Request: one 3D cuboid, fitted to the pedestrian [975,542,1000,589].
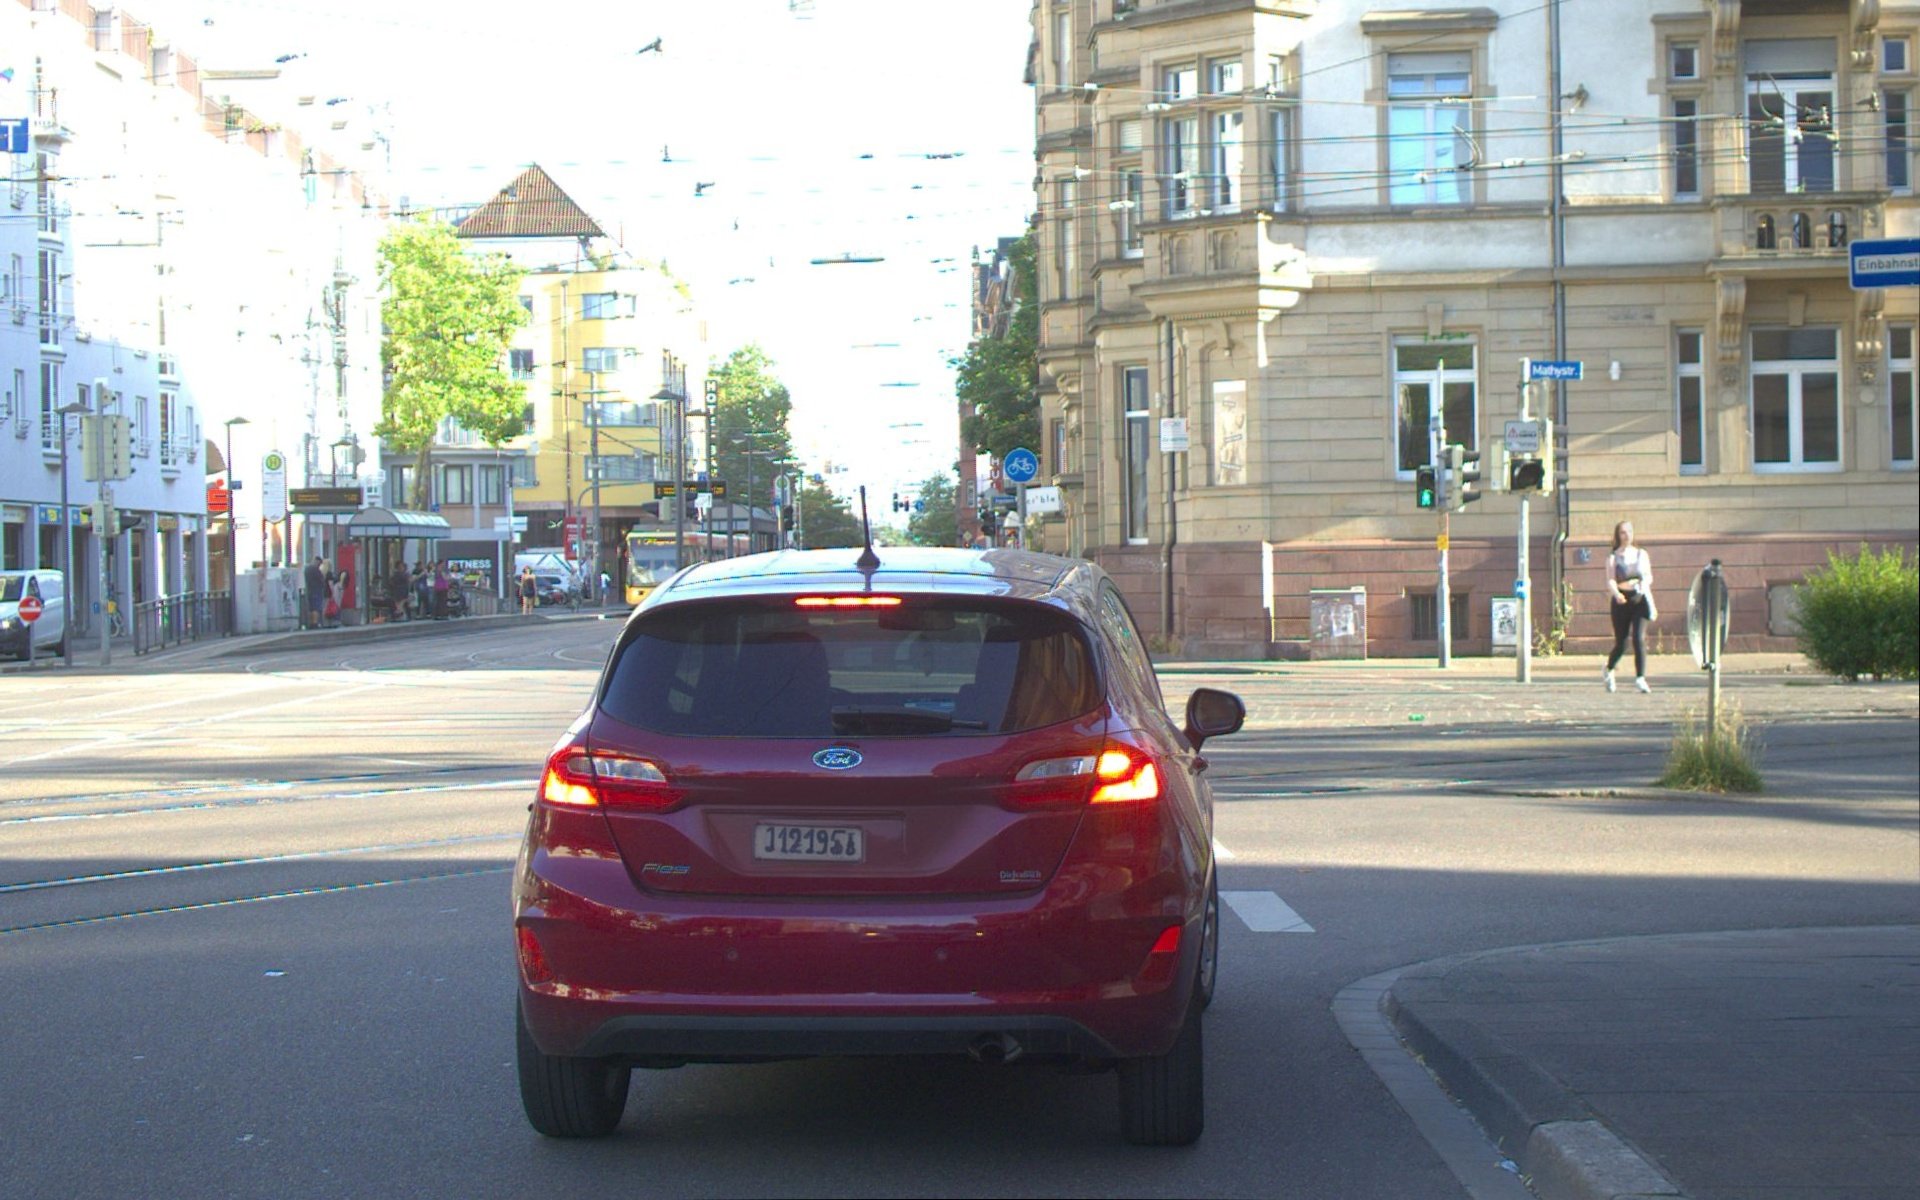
[{"bbox_3d":[0.973,-1.221,122.180,0.713,1.597,0.773,-4,2,-3],"label":"pedestrian"}]

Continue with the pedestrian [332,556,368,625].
[{"bbox_3d":[-14.985,-0.232,84.426,0.695,1.685,0.672,-1,0,-24],"label":"pedestrian"}]

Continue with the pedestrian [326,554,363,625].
[{"bbox_3d":[-14.801,-0.255,82.664,0.695,1.685,0.672,-1,0,-24],"label":"pedestrian"}]

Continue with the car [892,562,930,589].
[{"bbox_3d":[-2.627,-1.334,185.279,1.993,1.444,4.000,0,1,-1],"label":"car"}]

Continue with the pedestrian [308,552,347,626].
[{"bbox_3d":[-14.809,-0.253,80.491,0.765,1.727,0.519,-1,0,41],"label":"pedestrian"}]

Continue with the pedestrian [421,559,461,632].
[{"bbox_3d":[-13.673,-0.112,90.636,0.931,1.898,0.881,-1,0,-3],"label":"pedestrian"}]

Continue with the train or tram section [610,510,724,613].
[{"bbox_3d":[-10.667,-1.388,126.720,2.885,3.478,14.168,-2,0,0],"label":"train or tram section"}]

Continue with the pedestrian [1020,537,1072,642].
[{"bbox_3d":[1.447,-0.177,57.729,0.794,1.715,0.719,-2,-1,1],"label":"pedestrian"}]

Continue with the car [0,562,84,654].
[{"bbox_3d":[-19.896,0.152,71.613,1.993,1.831,5.347,-1,1,-1],"label":"car"}]

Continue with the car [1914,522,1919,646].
[{"bbox_3d":[14.687,-0.233,44.517,4.260,1.626,1.944,-1,0,8],"label":"car"}]

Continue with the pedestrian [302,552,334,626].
[{"bbox_3d":[-14.660,-0.249,78.474,0.599,1.686,0.613,-1,0,0],"label":"pedestrian"}]

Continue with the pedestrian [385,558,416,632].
[{"bbox_3d":[-14.518,-0.122,89.154,0.695,1.898,0.672,-1,0,-3],"label":"pedestrian"}]

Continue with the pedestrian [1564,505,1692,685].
[{"bbox_3d":[6.840,-0.055,35.238,1.023,1.801,1.083,-1,1,-4],"label":"pedestrian"}]

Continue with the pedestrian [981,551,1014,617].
[{"bbox_3d":[0.959,-0.412,88.136,0.762,1.640,0.832,-3,1,-1],"label":"pedestrian"}]

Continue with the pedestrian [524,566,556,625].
[{"bbox_3d":[-13.668,-0.135,111.797,0.878,1.898,0.935,-1,0,-16],"label":"pedestrian"}]

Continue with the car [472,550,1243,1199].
[{"bbox_3d":[-0.096,0.632,9.598,1.692,1.490,3.579,1,1,5],"label":"car"}]

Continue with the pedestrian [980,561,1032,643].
[{"bbox_3d":[0.766,0.039,57.408,0.794,1.327,0.719,-2,-1,-2],"label":"pedestrian"}]

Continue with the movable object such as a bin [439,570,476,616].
[{"bbox_3d":[-14.186,-0.209,97.018,0.937,1.282,0.935,-1,0,-2],"label":"movable object such as a bin"}]

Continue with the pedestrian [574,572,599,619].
[{"bbox_3d":[-15.445,-0.187,142.111,0.878,1.898,0.935,-1,0,-16],"label":"pedestrian"}]

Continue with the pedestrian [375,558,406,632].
[{"bbox_3d":[-14.678,-0.123,88.594,0.695,1.898,0.672,-1,0,-3],"label":"pedestrian"}]

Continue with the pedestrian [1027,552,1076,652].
[{"bbox_3d":[1.699,0.023,64.248,0.801,1.817,0.797,-3,1,-1],"label":"pedestrian"}]
